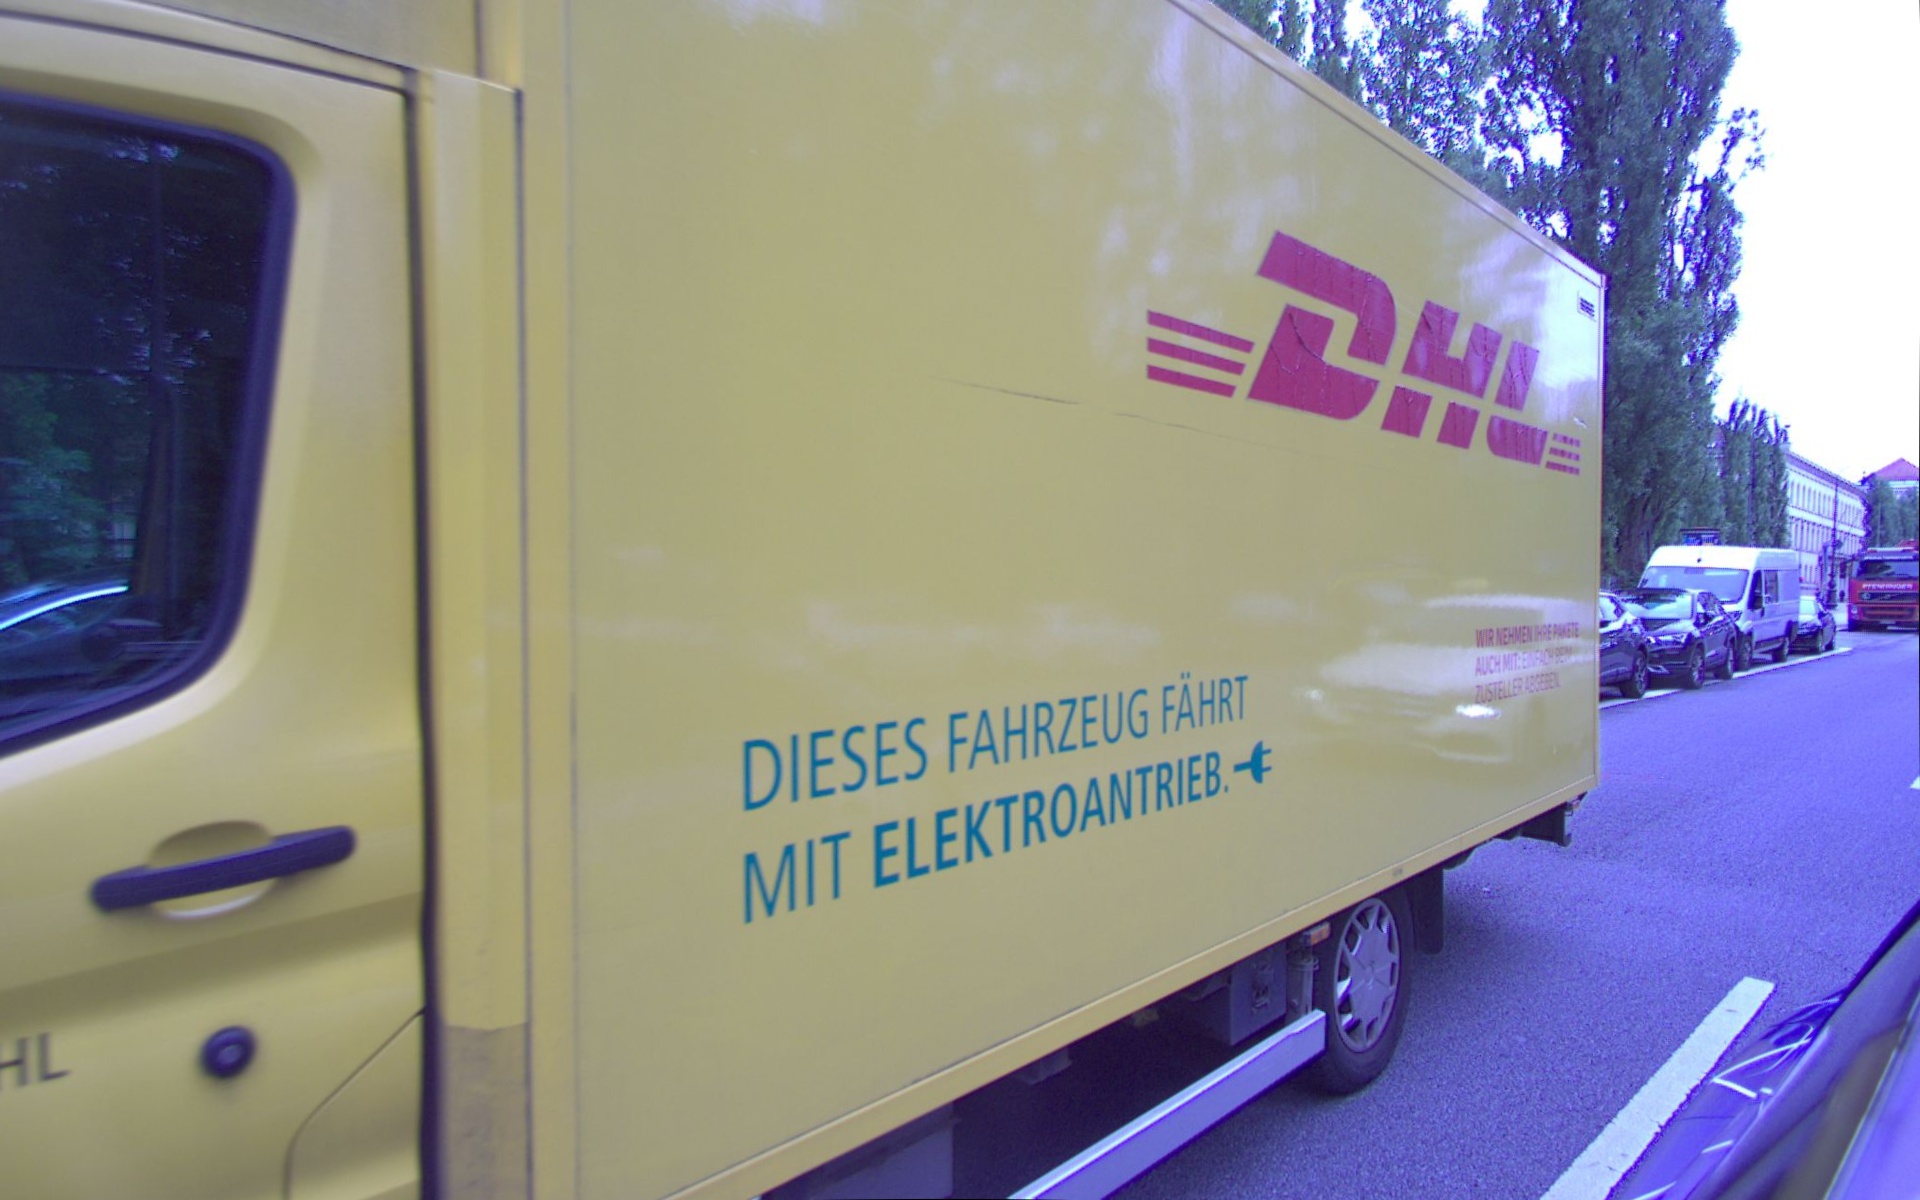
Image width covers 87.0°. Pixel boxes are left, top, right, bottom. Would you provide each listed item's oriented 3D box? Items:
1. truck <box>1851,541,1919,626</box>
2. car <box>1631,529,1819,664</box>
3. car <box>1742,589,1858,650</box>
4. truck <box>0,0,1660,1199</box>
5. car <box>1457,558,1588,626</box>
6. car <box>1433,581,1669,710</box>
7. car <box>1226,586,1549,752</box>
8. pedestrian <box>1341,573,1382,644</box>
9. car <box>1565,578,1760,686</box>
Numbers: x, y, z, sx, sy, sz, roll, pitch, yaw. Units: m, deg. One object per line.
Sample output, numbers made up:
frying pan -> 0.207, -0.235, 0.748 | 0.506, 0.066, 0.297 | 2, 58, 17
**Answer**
truck -> 39.109, -0.662, 41.353 | 10.245, 3.148, 2.719 | 0, 2, -41
car -> 16.544, -0.098, 21.722 | 6.175, 2.510, 2.077 | 0, 1, -42
car -> 21.751, 0.462, 26.163 | 3.931, 1.468, 1.756 | 0, 0, -42
truck -> -0.229, -0.093, 3.089 | 7.208, 2.934, 2.331 | -1, 2, -43
car -> 17.710, -0.283, 31.769 | 4.994, 1.970, 1.997 | -1, 2, -41
car -> 8.183, 0.506, 13.860 | 4.043, 1.522, 1.654 | -1, 1, -42
car -> 4.723, 0.595, 10.903 | 4.077, 1.464, 1.635 | -1, 0, -42
pedestrian -> 9.697, 0.201, 24.455 | 0.622, 1.680, 0.716 | 0, 1, -42
car -> 12.019, 0.444, 17.220 | 4.151, 1.610, 1.823 | -1, 1, -42
